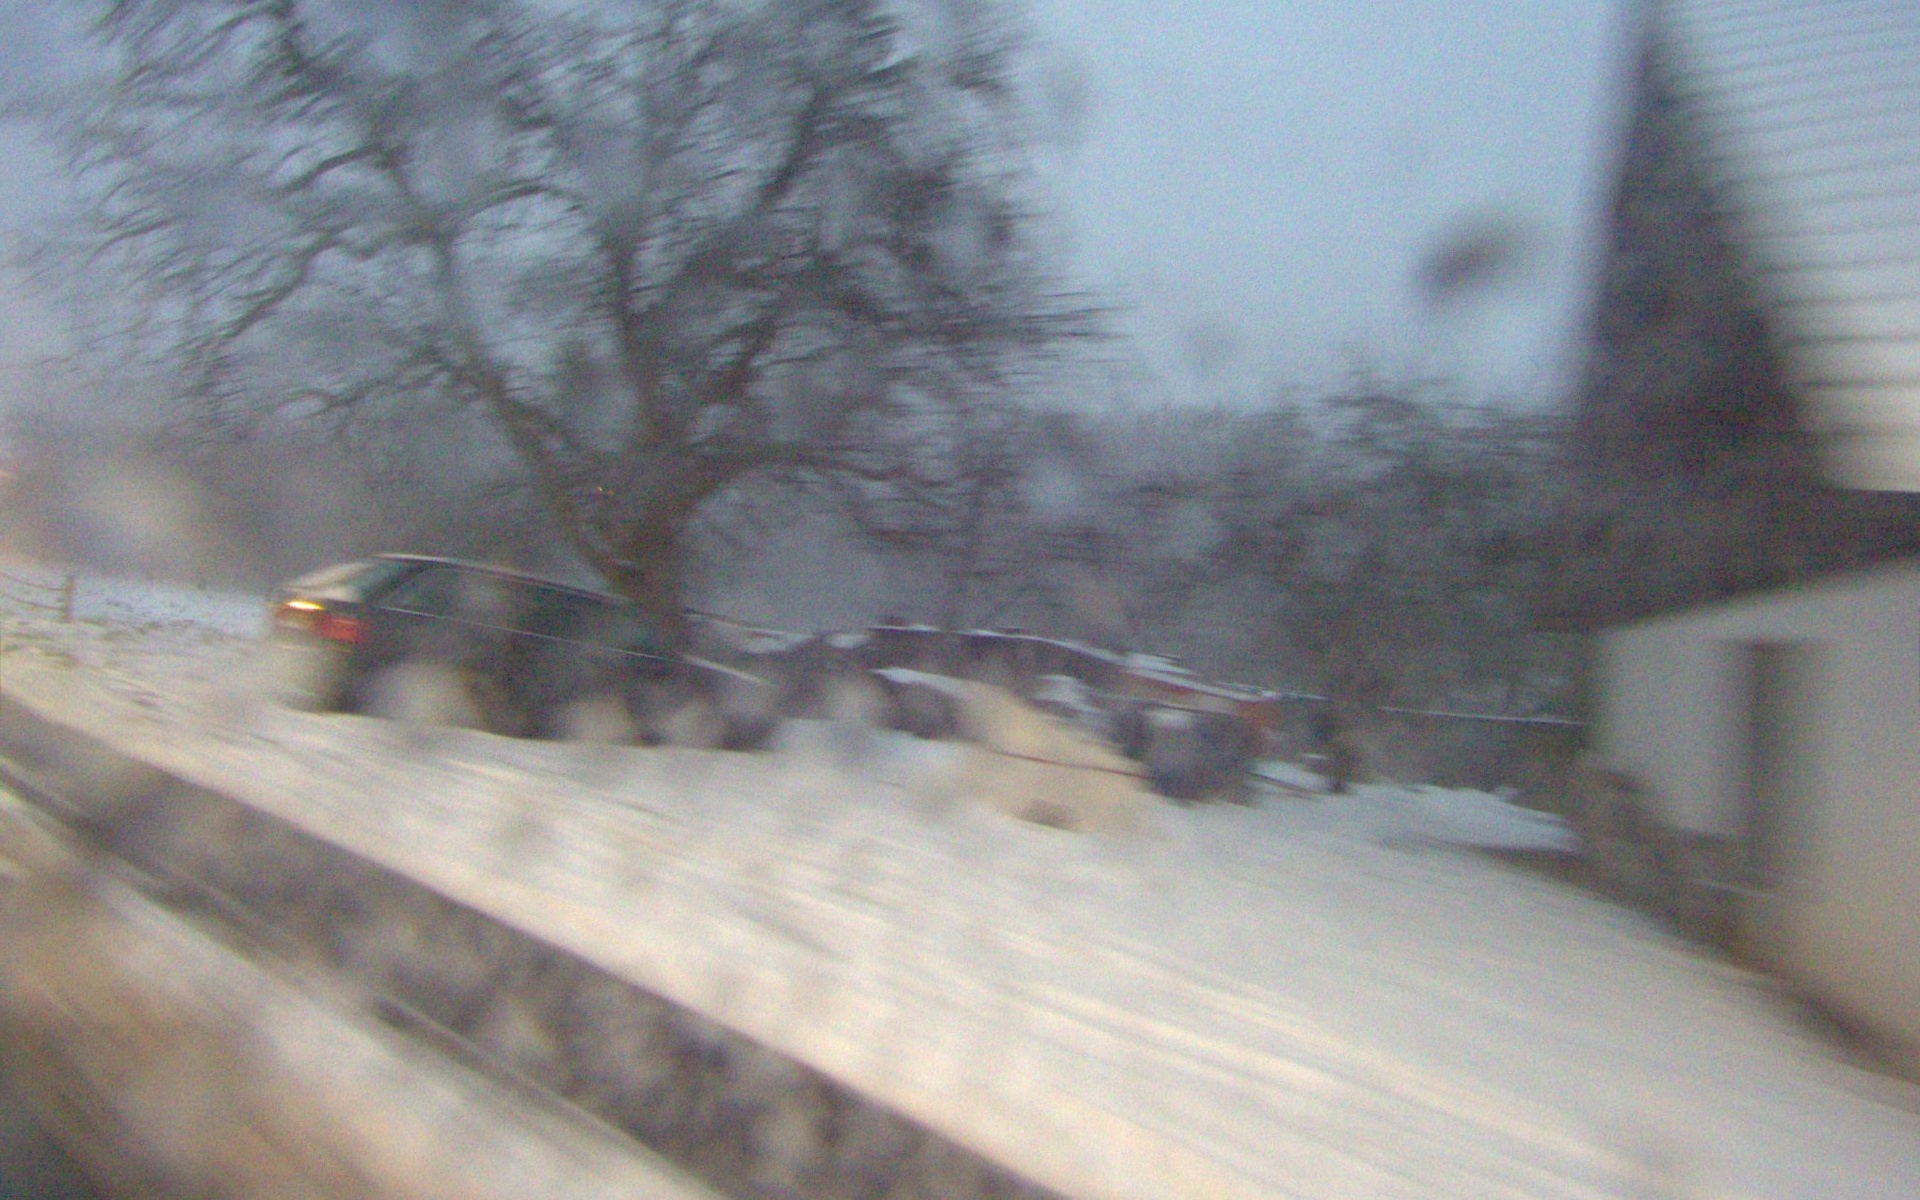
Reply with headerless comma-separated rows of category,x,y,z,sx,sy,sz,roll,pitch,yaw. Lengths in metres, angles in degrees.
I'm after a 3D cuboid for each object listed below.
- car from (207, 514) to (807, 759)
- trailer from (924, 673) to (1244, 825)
car,-3.781,0.468,9.182,2.005,1.395,4.460,6,-6,37
trailer,1.588,1.622,11.401,2.208,1.103,3.881,6,-3,30
